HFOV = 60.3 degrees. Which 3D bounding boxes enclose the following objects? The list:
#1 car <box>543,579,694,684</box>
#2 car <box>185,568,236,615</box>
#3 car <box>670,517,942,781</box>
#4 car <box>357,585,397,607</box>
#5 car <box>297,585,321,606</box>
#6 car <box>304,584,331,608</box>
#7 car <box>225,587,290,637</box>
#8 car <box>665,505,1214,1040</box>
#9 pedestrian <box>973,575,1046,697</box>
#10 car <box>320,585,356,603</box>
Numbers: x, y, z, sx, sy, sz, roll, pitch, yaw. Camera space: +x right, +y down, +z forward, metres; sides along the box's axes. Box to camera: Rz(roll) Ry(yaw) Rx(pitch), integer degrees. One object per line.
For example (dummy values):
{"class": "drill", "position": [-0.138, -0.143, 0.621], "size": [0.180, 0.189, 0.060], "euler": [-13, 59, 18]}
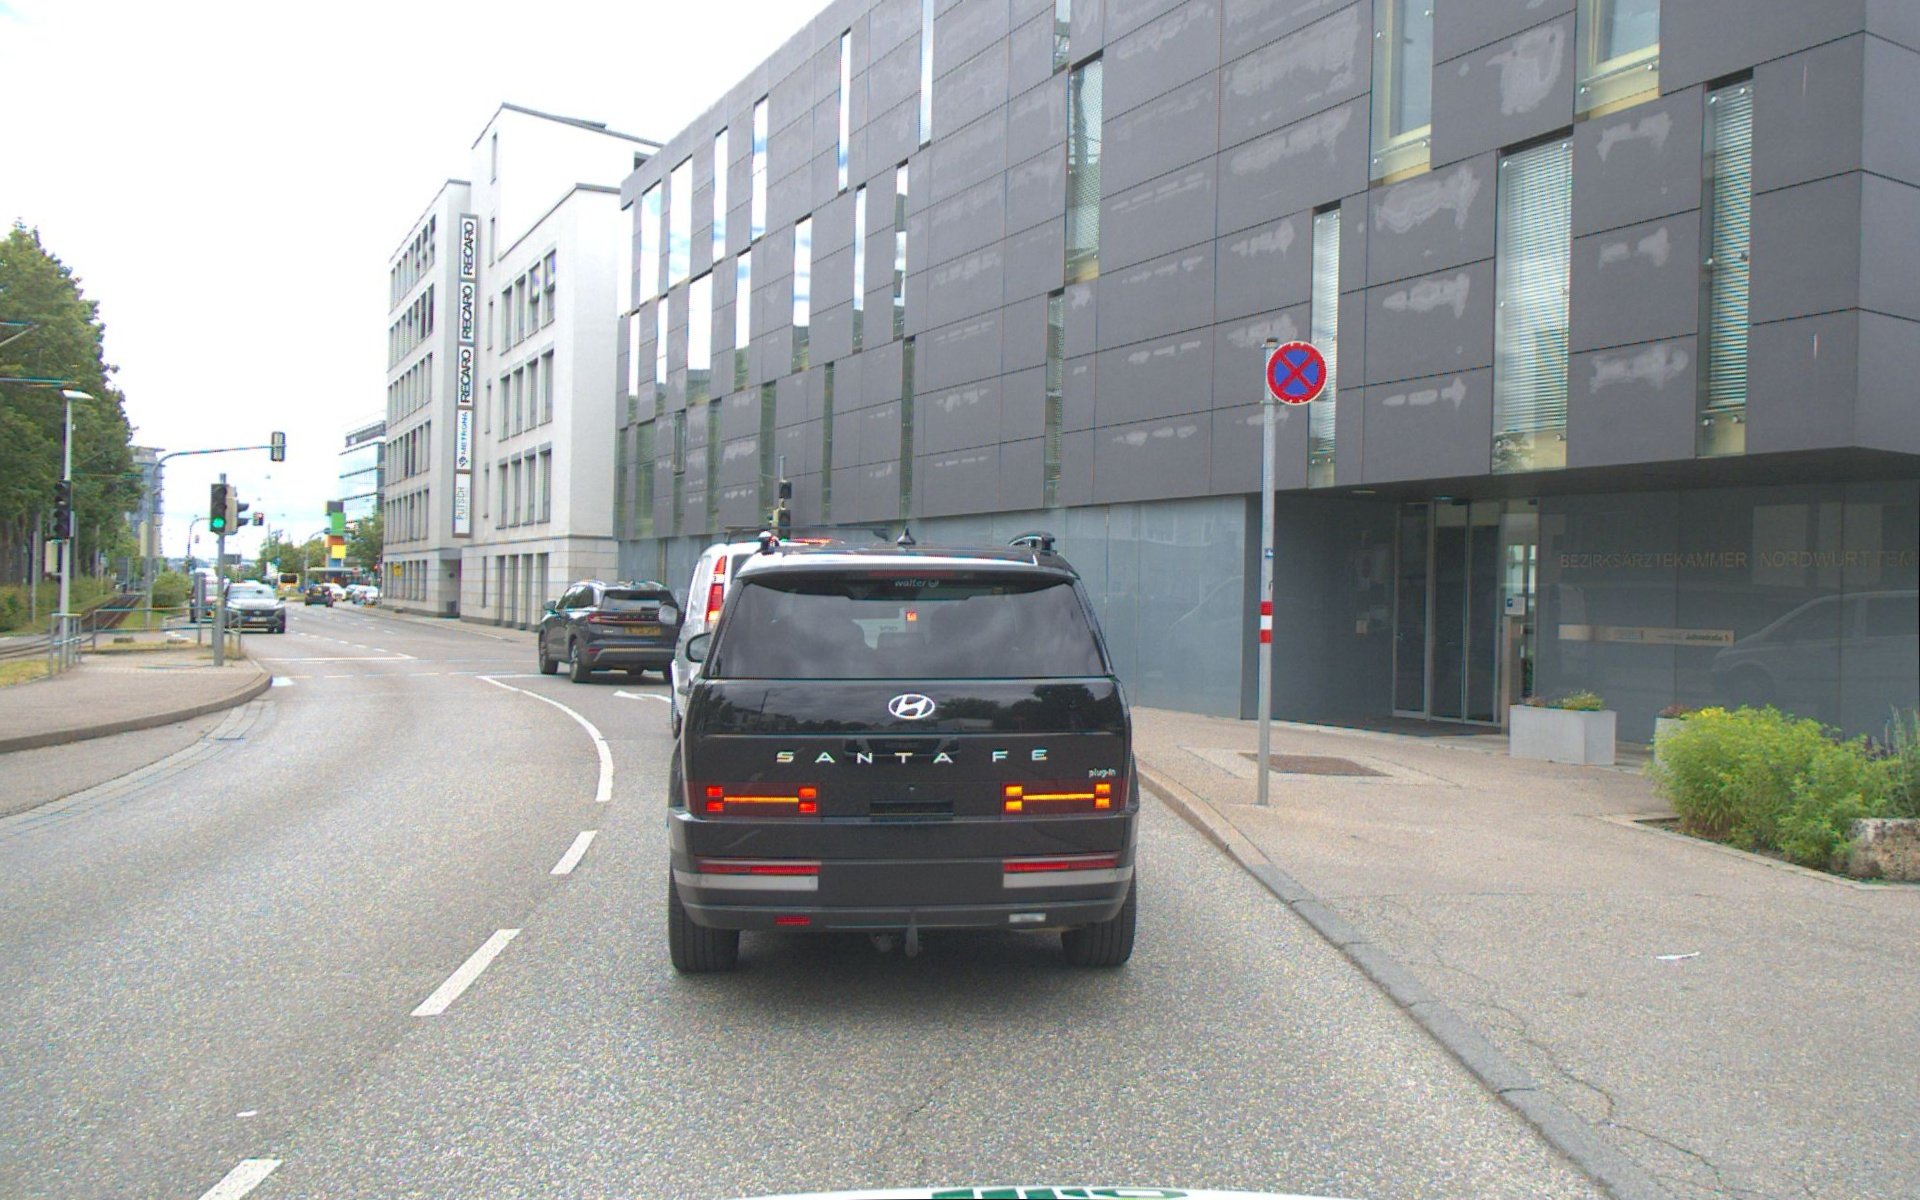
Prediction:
{"class": "car", "position": [-5.849, 0.486, 28.004], "size": [1.735, 1.637, 4.159], "euler": [1, 0, -23]}
{"class": "car", "position": [-30.432, -0.355, 67.105], "size": [1.661, 1.840, 4.313], "euler": [-1, 0, -27]}
{"class": "car", "position": [-1.571, 0.380, 15.110], "size": [1.898, 2.029, 4.520], "euler": [1, 0, -13]}
{"class": "car", "position": [-47.837, -0.334, 135.702], "size": [1.979, 1.733, 3.946], "euler": [1, 0, -38]}
{"class": "car", "position": [-53.309, -0.376, 135.364], "size": [1.735, 1.637, 4.159], "euler": [1, 0, -23]}
{"class": "car", "position": [-46.209, -0.310, 118.912], "size": [1.735, 1.637, 4.159], "euler": [1, 0, -23]}
{"class": "car", "position": [-22.417, 0.368, 52.695], "size": [1.746, 1.504, 3.968], "euler": [-1, 0, -25]}
{"class": "car", "position": [-0.305, 0.567, 7.798], "size": [1.872, 1.780, 4.390], "euler": [0, 0, -7]}
{"class": "pedestrian", "position": [0.720, 0.516, 24.053], "size": [0.703, 1.724, 0.858], "euler": [2, -1, -27]}
{"class": "car", "position": [-54.237, -0.510, 144.273], "size": [1.978, 1.529, 3.949], "euler": [1, 0, -36]}
